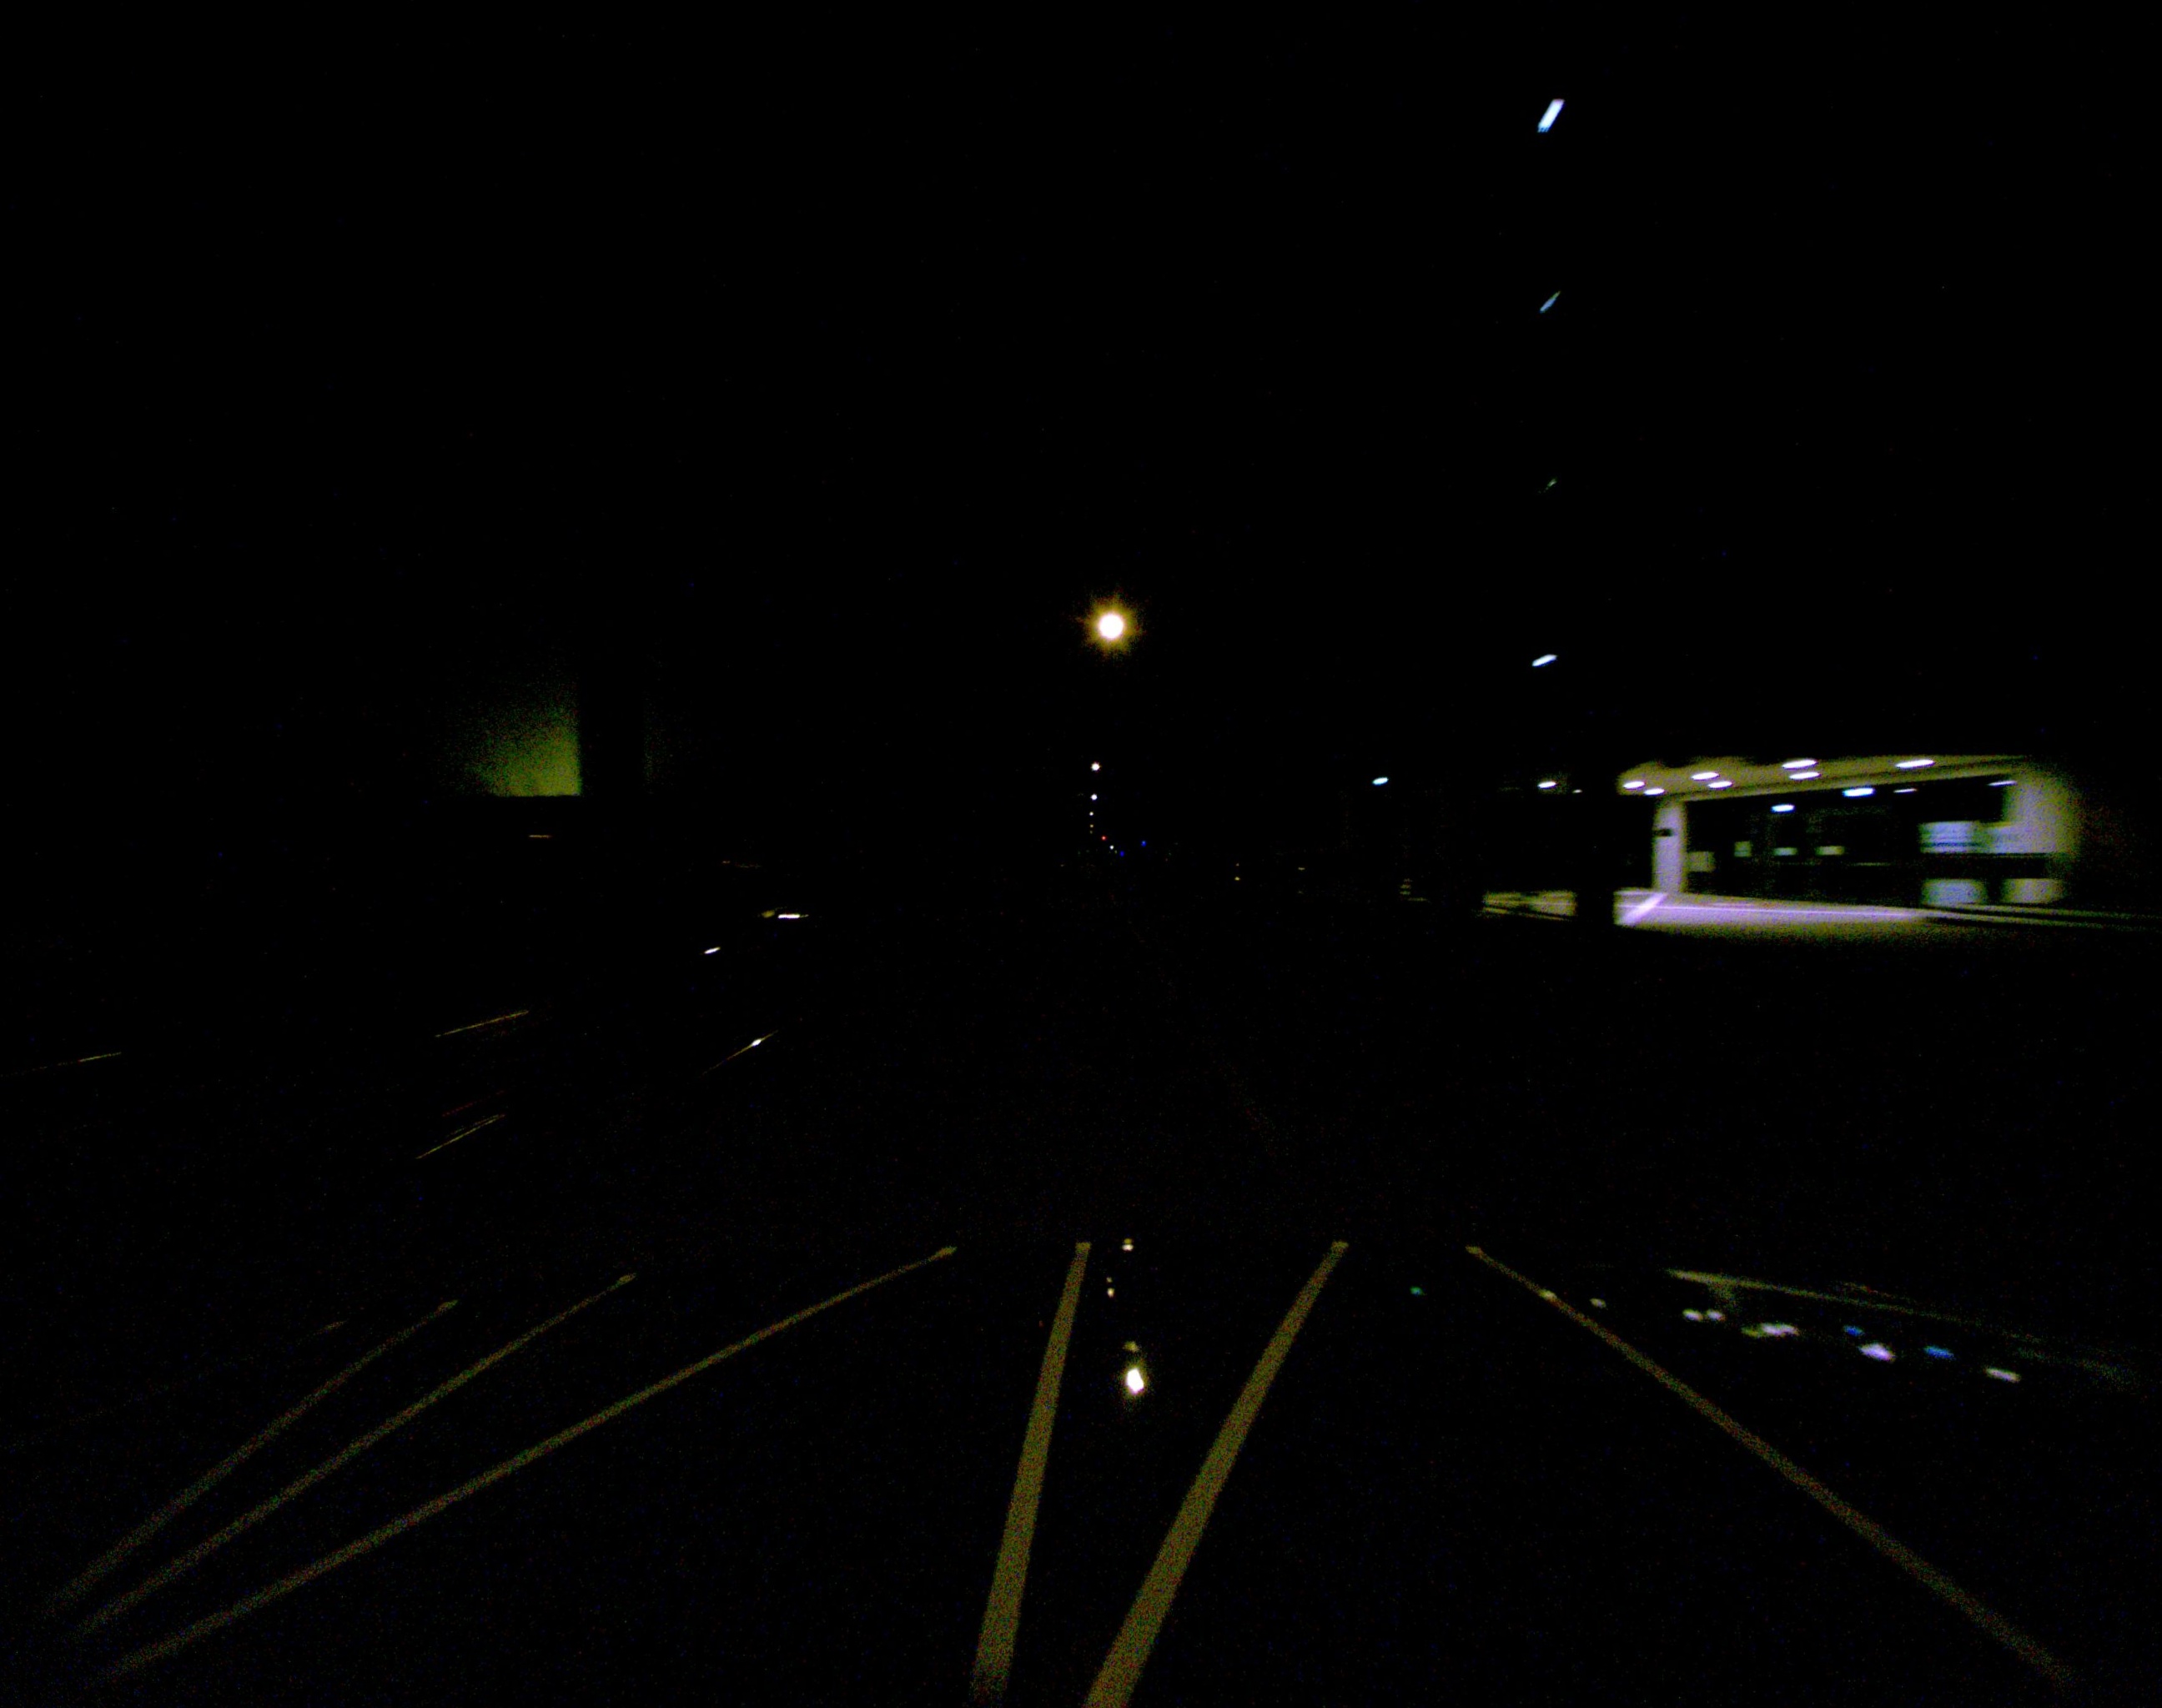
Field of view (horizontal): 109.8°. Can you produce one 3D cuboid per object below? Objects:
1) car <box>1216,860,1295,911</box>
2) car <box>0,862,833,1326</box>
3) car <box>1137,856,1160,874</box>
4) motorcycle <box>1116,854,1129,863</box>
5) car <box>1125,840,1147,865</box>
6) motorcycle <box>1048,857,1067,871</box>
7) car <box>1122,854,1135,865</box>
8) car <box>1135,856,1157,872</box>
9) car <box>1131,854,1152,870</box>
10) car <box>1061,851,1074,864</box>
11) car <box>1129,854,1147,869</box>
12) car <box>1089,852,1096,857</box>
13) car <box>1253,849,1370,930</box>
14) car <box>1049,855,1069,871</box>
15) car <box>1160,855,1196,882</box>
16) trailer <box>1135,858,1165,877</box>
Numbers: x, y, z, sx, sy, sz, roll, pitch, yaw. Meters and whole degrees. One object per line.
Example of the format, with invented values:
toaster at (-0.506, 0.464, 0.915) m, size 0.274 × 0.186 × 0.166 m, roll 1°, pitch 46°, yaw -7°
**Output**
car at (5.764, 0.989, 25.542) m, size 1.704 × 1.425 × 3.828 m, roll -4°, pitch 0°, yaw 0°
car at (-3.211, 0.919, 4.914) m, size 1.858 × 1.644 × 4.208 m, roll 1°, pitch 0°, yaw -1°
car at (6.258, 1.018, 70.782) m, size 1.721 × 1.493 × 4.205 m, roll -3°, pitch 0°, yaw 0°
motorcycle at (7.068, 0.754, 129.396) m, size 1.909 × 1.541 × 0.638 m, roll -2°, pitch 1°, yaw -19°
car at (6.609, -0.230, 92.305) m, size 2.184 × 2.892 × 4.909 m, roll -2°, pitch 0°, yaw 0°
motorcycle at (-2.201, 0.897, 69.841) m, size 0.930 × 1.276 × 2.230 m, roll -2°, pitch 1°, yaw -24°
car at (6.824, 0.774, 108.986) m, size 1.551 × 1.447 × 3.368 m, roll -2°, pitch 0°, yaw 0°
car at (6.435, 1.000, 75.511) m, size 1.709 × 1.403 × 4.633 m, roll -3°, pitch 1°, yaw 0°
car at (6.447, 0.820, 81.008) m, size 1.746 × 1.597 × 4.297 m, roll -1°, pitch 0°, yaw -2°
car at (-2.097, 0.493, 117.785) m, size 1.956 × 1.952 × 4.603 m, roll -1°, pitch 0°, yaw 0°
car at (6.518, 0.844, 87.327) m, size 1.746 × 1.597 × 4.115 m, roll -2°, pitch 0°, yaw 0°
car at (3.685, 0.154, 244.733) m, size 1.936 × 1.646 × 3.833 m, roll 0°, pitch 0°, yaw 0°
car at (5.849, 0.829, 19.785) m, size 1.826 × 1.801 × 4.210 m, roll -3°, pitch 0°, yaw 2°
car at (-2.175, 0.873, 75.601) m, size 1.672 × 1.420 × 4.148 m, roll 1°, pitch 0°, yaw 3°
car at (6.031, 0.886, 47.474) m, size 1.826 × 1.589 × 4.073 m, roll -1°, pitch 0°, yaw 2°
trailer at (5.645, 1.054, 62.807) m, size 2.115 × 1.327 × 5.435 m, roll -3°, pitch 0°, yaw 2°
